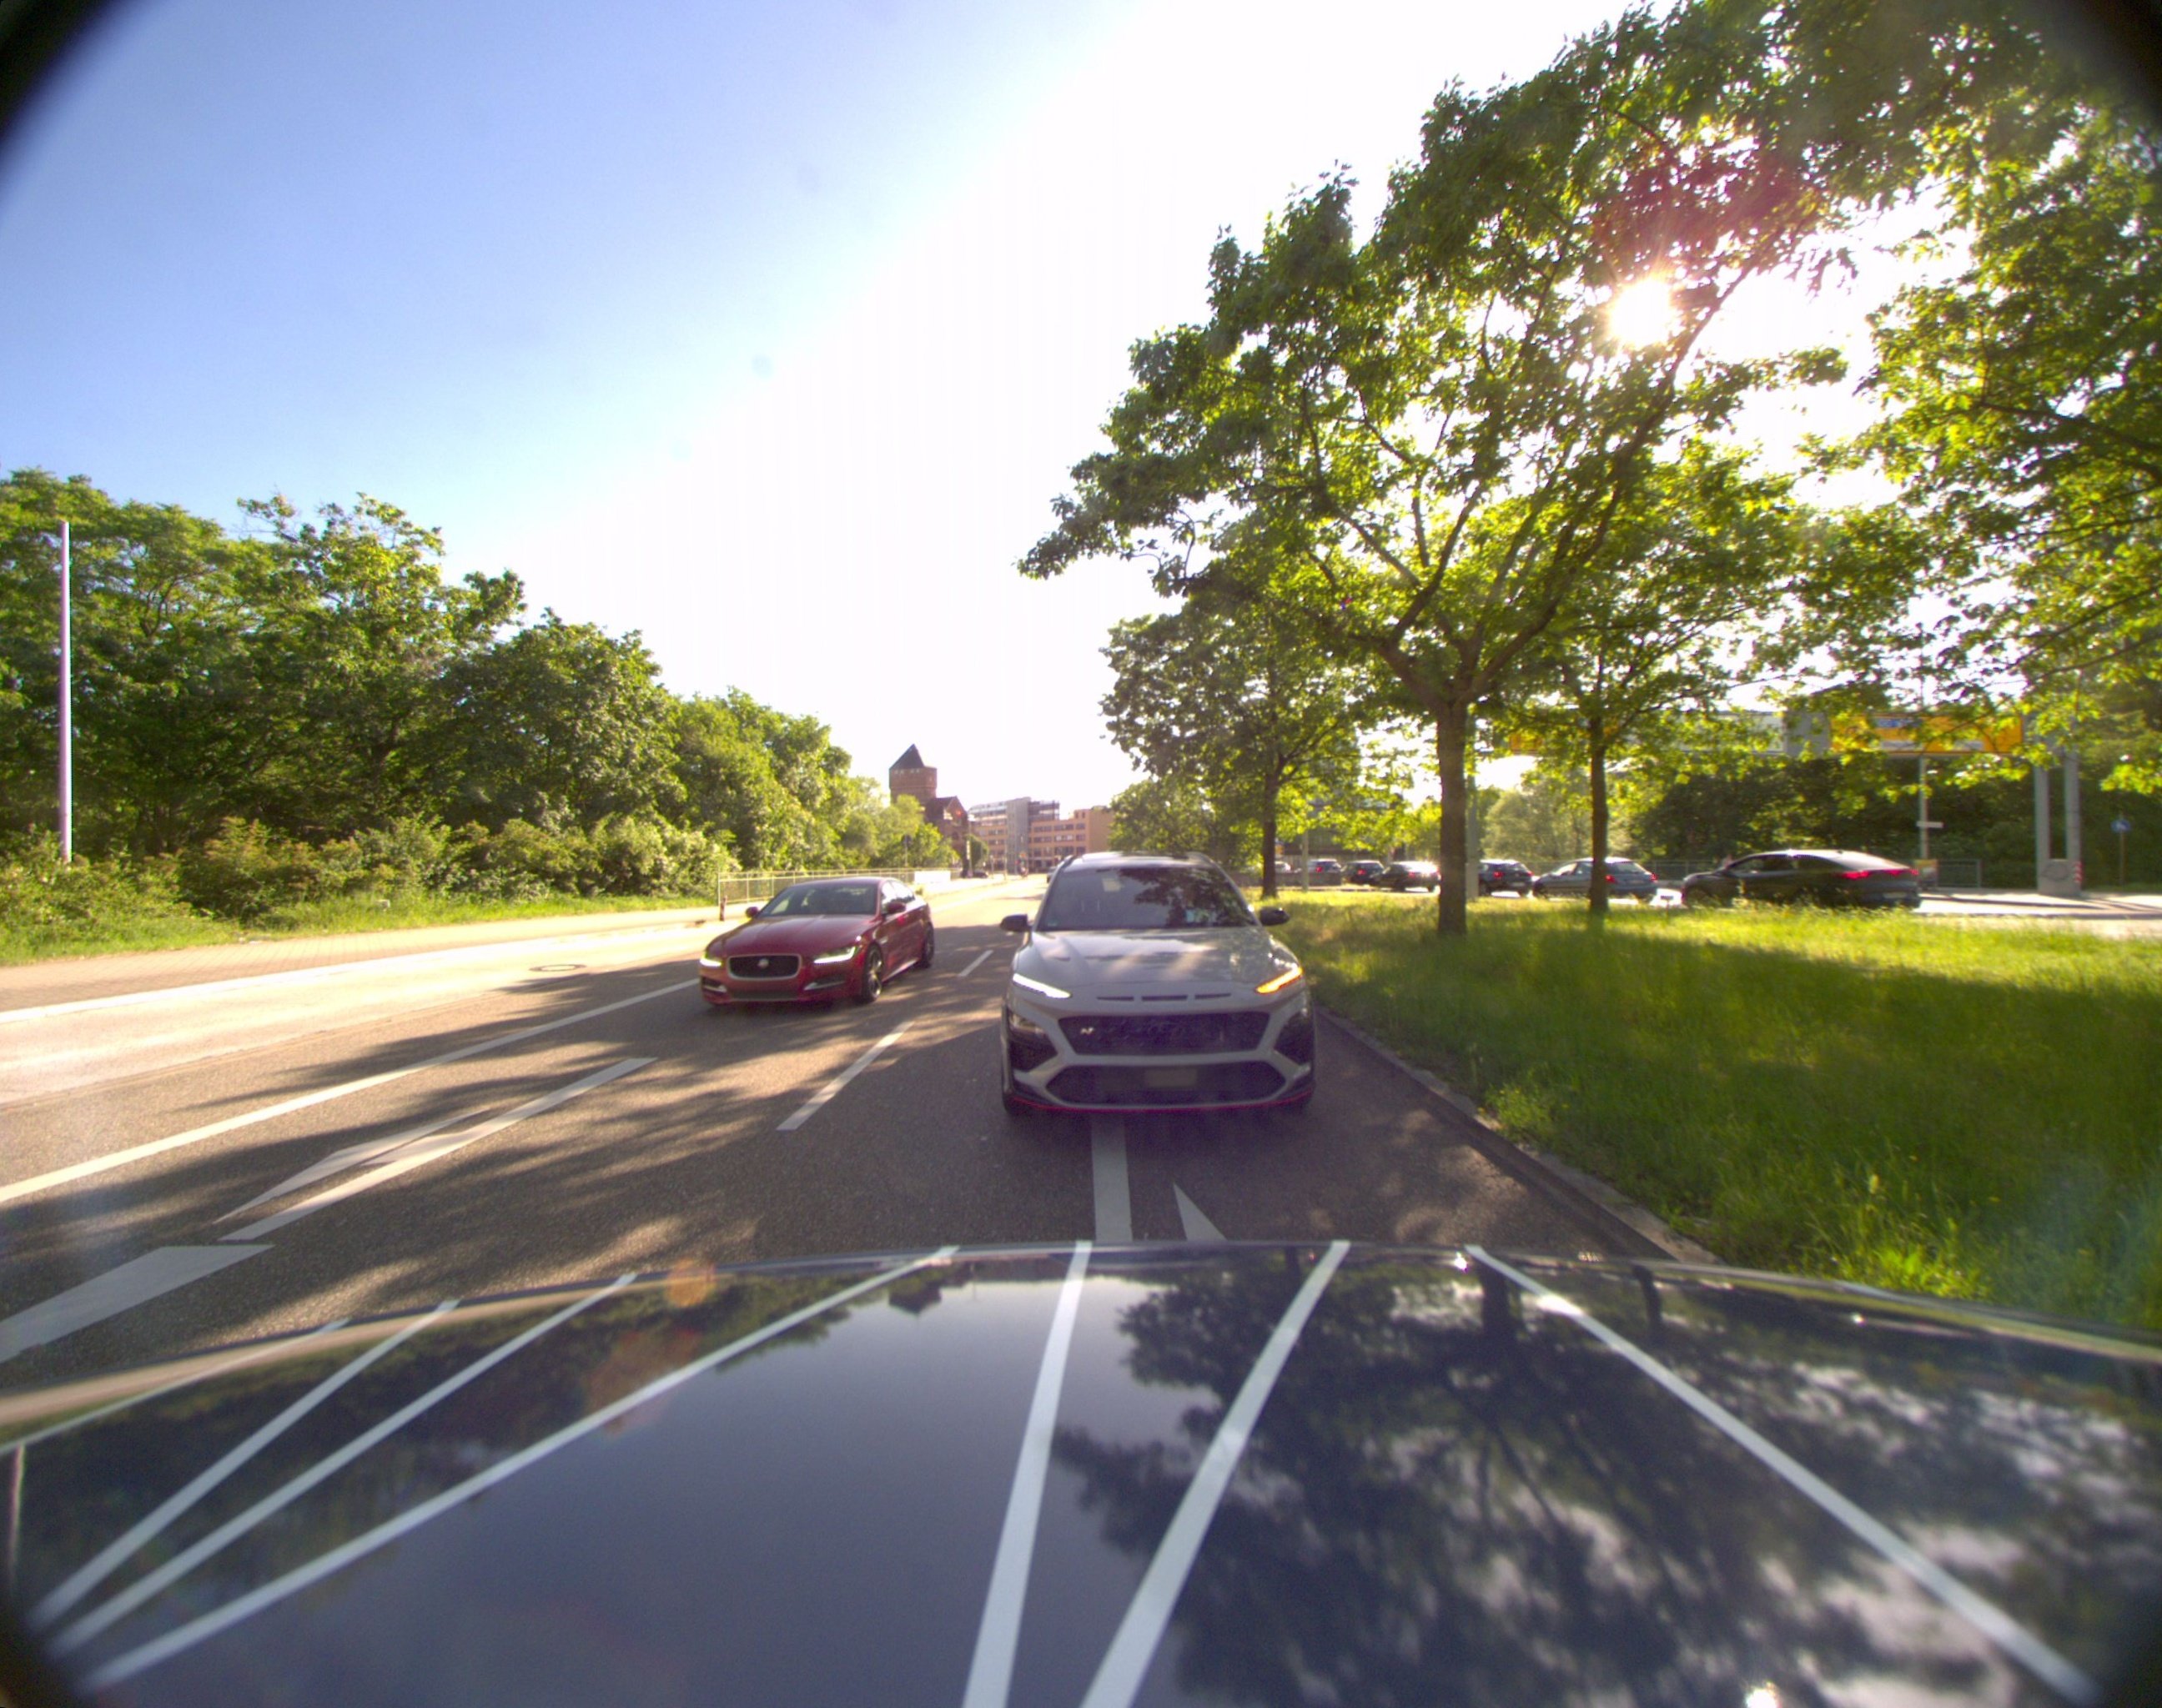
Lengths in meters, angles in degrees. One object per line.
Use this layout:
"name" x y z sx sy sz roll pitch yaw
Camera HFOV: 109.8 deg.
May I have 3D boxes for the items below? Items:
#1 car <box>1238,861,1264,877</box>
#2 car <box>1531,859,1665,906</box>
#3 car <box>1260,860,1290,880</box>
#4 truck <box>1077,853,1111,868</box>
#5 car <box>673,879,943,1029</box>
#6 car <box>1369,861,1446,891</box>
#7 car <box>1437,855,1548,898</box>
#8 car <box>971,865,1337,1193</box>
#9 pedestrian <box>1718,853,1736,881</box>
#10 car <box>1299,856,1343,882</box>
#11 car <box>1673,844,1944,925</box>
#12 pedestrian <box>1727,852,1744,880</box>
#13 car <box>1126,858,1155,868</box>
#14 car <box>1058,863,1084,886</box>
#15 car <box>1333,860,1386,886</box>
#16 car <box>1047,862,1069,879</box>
"car" 13.936 1.269 62.323 1.199 1.252 2.768 -1 -2 -6
"car" 16.379 0.875 24.275 1.561 1.355 3.608 -1 -1 -6
"car" 14.309 1.202 56.168 1.228 1.331 2.882 -1 -3 -6
"truck" 2.780 1.409 166.961 3.534 3.231 9.144 -1 0 -29
"car" -3.201 1.096 9.983 1.892 1.420 4.387 -1 0 1
"car" 15.468 0.990 36.218 1.623 1.305 4.066 -1 0 -6
"car" 16.180 0.849 30.145 1.875 1.541 4.221 -1 0 -4
"car" 0.381 0.879 5.684 1.752 1.523 3.988 -1 0 1
"pedestrian" 34.285 0.679 40.321 0.421 1.490 0.545 -1 0 -7
"car" 14.963 0.985 47.539 1.450 1.549 3.202 -1 -2 -6
"car" 16.748 0.632 17.887 1.832 1.638 4.458 -1 0 -7
"pedestrian" 34.810 0.640 40.403 0.421 1.490 0.545 -1 0 -7
"car" 12.233 1.858 156.193 5.399 2.001 2.178 -1 0 33
"car" -0.644 1.359 52.393 1.677 1.463 4.151 -1 0 1
"car" 15.144 1.026 41.475 1.481 1.331 3.202 -1 -1 -6
"car" -1.982 1.418 67.242 1.776 1.395 4.318 -1 0 1
